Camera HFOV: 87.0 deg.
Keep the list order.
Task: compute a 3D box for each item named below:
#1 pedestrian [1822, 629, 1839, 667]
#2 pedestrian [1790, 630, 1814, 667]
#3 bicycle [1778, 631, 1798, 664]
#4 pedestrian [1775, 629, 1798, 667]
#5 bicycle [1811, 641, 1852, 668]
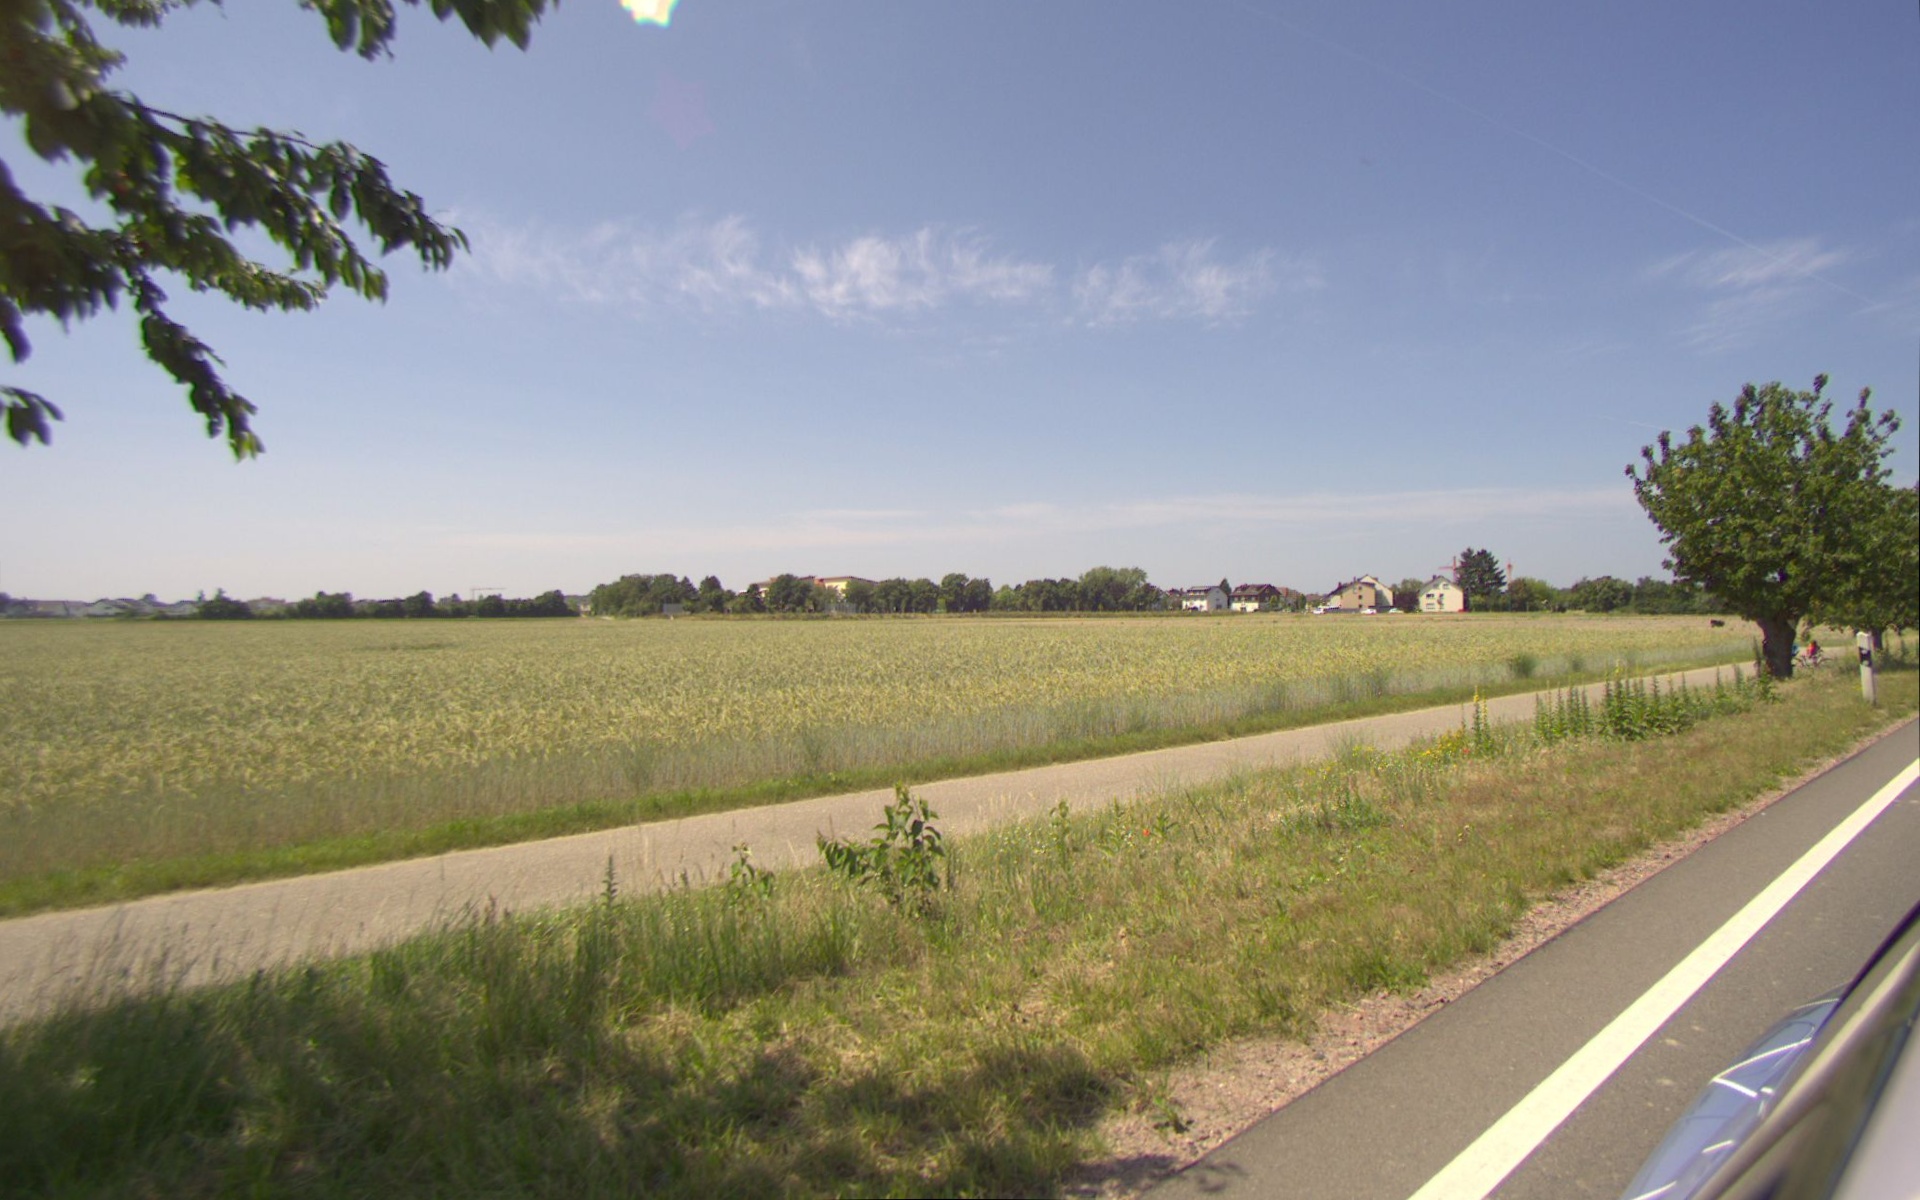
[{"bbox_3d":[31.132,1.721,36.195,0.440,1.312,0.479,0,-1,43],"label":"pedestrian"},{"bbox_3d":[30.204,1.732,36.323,0.433,1.312,0.488,0,0,-7],"label":"pedestrian"},{"bbox_3d":[32.135,1.835,39.286,0.473,1.180,1.661,-1,-1,35],"label":"bicycle"},{"bbox_3d":[29.659,1.722,36.330,0.434,1.330,0.487,0,0,2],"label":"pedestrian"},{"bbox_3d":[30.826,1.917,35.824,0.433,0.871,1.120,0,0,-3],"label":"bicycle"}]
